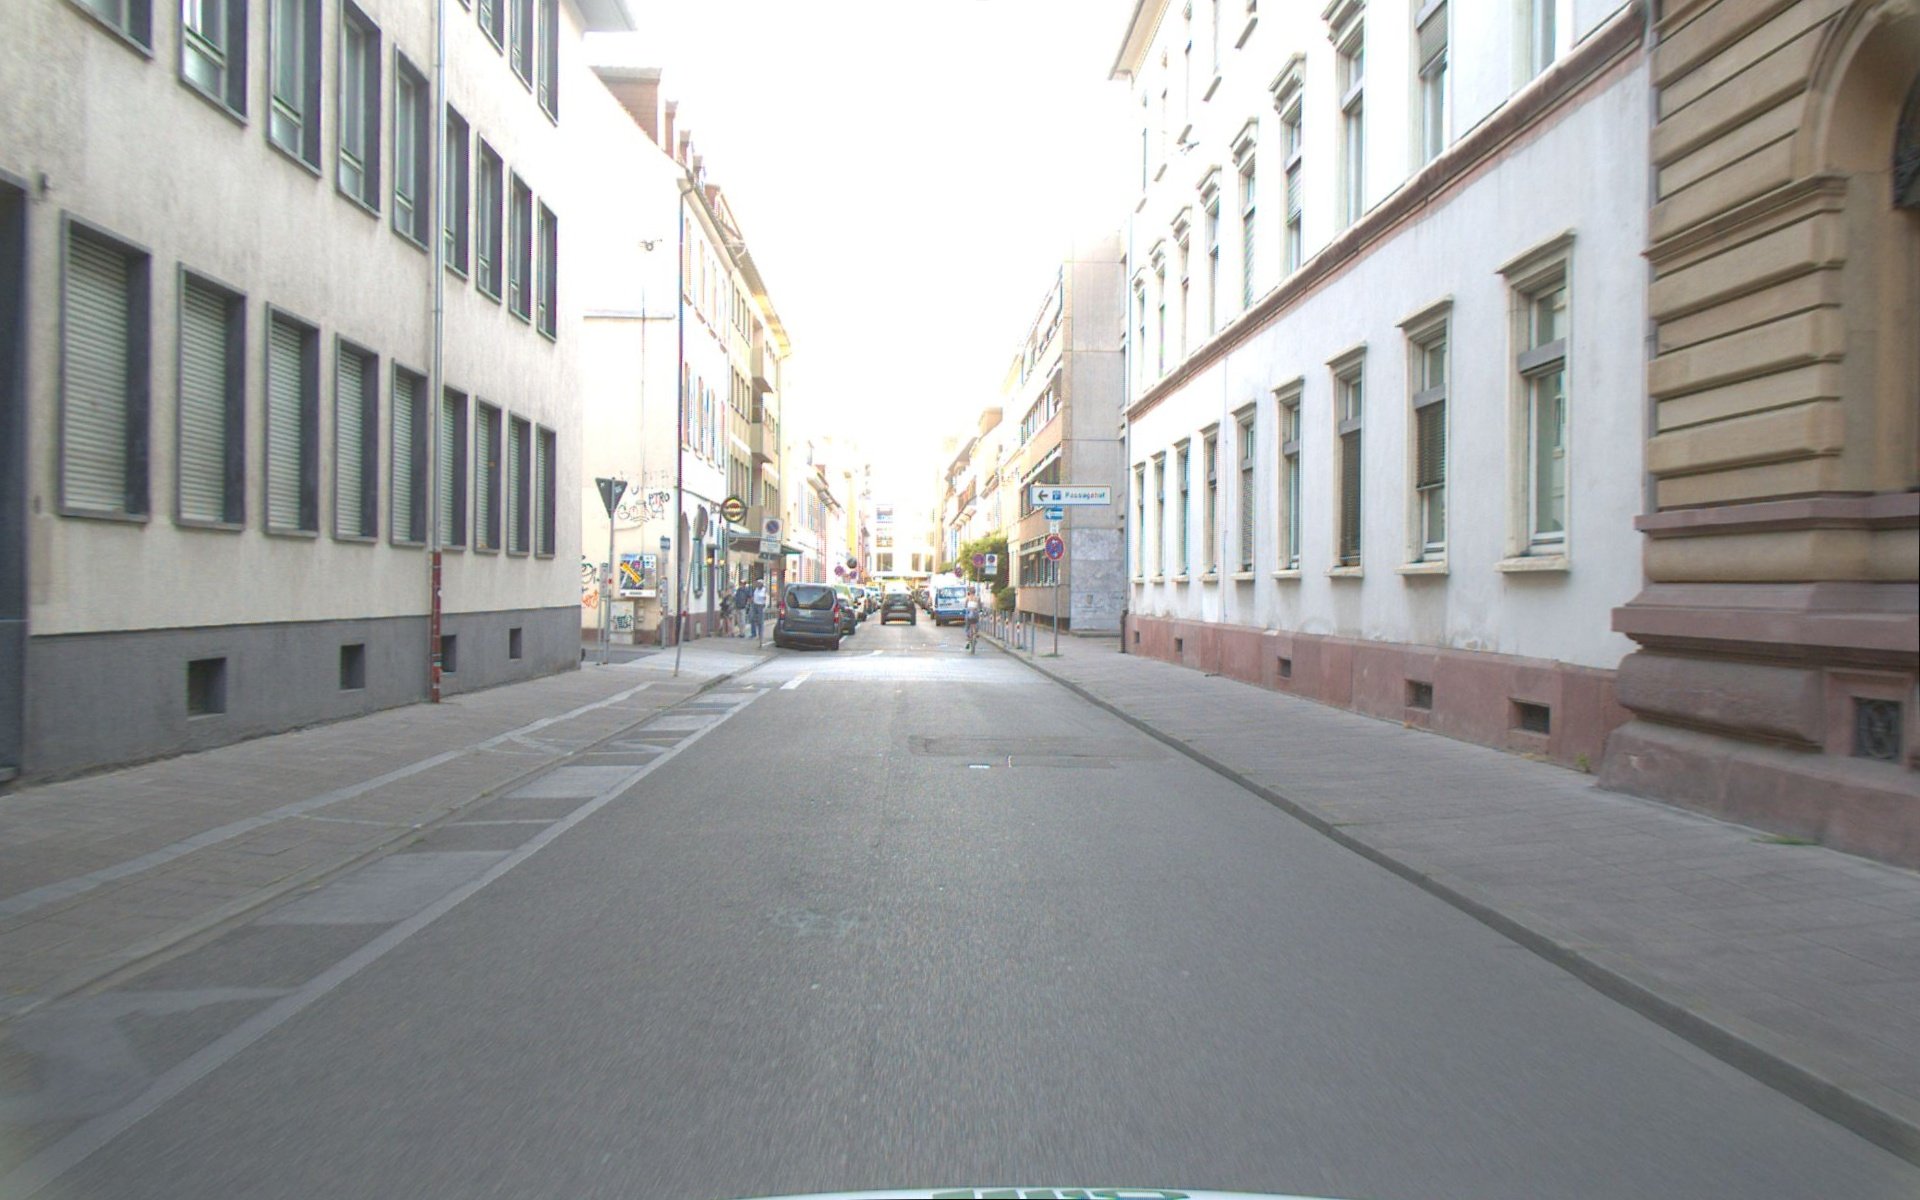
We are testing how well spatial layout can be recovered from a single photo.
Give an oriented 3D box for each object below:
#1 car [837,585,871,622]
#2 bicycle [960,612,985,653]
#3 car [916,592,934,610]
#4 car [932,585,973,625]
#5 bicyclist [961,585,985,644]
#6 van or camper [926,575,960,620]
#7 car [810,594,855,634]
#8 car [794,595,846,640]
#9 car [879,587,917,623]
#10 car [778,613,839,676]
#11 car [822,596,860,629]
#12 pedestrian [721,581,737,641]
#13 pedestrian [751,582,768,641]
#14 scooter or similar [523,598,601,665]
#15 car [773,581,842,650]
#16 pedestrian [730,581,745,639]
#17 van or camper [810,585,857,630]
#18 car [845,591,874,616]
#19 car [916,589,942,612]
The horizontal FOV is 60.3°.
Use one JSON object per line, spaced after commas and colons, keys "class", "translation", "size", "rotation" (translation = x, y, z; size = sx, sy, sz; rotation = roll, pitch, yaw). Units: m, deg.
{"class": "car", "translation": [-5.895, 0.177, 92.384], "size": [1.825, 2.049, 5.102], "rotation": [0, 0, -3]}
{"class": "bicycle", "translation": [0.336, 0.876, 45.234], "size": [0.601, 1.101, 1.809], "rotation": [1, 0, -1]}
{"class": "car", "translation": [-3.189, 0.092, 151.196], "size": [1.620, 1.588, 3.604], "rotation": [2, 0, -2]}
{"class": "car", "translation": [-0.382, 0.236, 81.302], "size": [1.897, 1.931, 5.275], "rotation": [0, 0, -2]}
{"class": "bicyclist", "translation": [0.352, 0.400, 45.242], "size": [0.608, 1.602, 0.683], "rotation": [1, 0, -1]}
{"class": "van or camper", "translation": [-1.066, -0.167, 101.223], "size": [2.008, 2.684, 7.061], "rotation": [0, 0, -1]}
{"class": "car", "translation": [-4.756, 0.512, 62.255], "size": [1.592, 1.440, 3.978], "rotation": [1, 0, -4]}
{"class": "car", "translation": [-4.805, 0.582, 57.280], "size": [1.591, 1.511, 3.876], "rotation": [0, 0, -2]}
{"class": "car", "translation": [-3.028, 0.247, 80.701], "size": [1.783, 1.646, 3.998], "rotation": [2, 0, -2]}
{"class": "car", "translation": [-4.758, 1.376, 52.485], "size": [1.737, 1.843, 4.507], "rotation": [1, 0, -3]}
{"class": "car", "translation": [-5.719, 0.597, 79.599], "size": [1.629, 1.474, 3.519], "rotation": [4, 0, -2]}
{"class": "pedestrian", "translation": [-6.985, 0.332, 49.966], "size": [0.398, 1.780, 0.470], "rotation": [1, 0, -1]}
{"class": "pedestrian", "translation": [-6.159, 0.345, 50.791], "size": [0.440, 1.780, 0.470], "rotation": [1, 0, -1]}
{"class": "scooter or similar", "translation": [-7.762, 0.616, 32.282], "size": [1.345, 1.222, 0.528], "rotation": [4, -2, -26]}
{"class": "car", "translation": [-4.363, 0.418, 47.379], "size": [1.840, 1.843, 4.446], "rotation": [1, 0, -5]}
{"class": "pedestrian", "translation": [-6.891, 0.307, 51.279], "size": [0.398, 1.780, 0.470], "rotation": [1, 0, -1]}
{"class": "van or camper", "translation": [-5.355, 0.299, 70.286], "size": [1.736, 1.880, 4.177], "rotation": [0, 0, -1]}
{"class": "car", "translation": [-7.063, 0.246, 116.603], "size": [1.766, 1.706, 4.489], "rotation": [0, 0, -1]}
{"class": "car", "translation": [-2.235, 0.012, 120.864], "size": [1.782, 1.556, 5.070], "rotation": [-3, 0, -1]}
